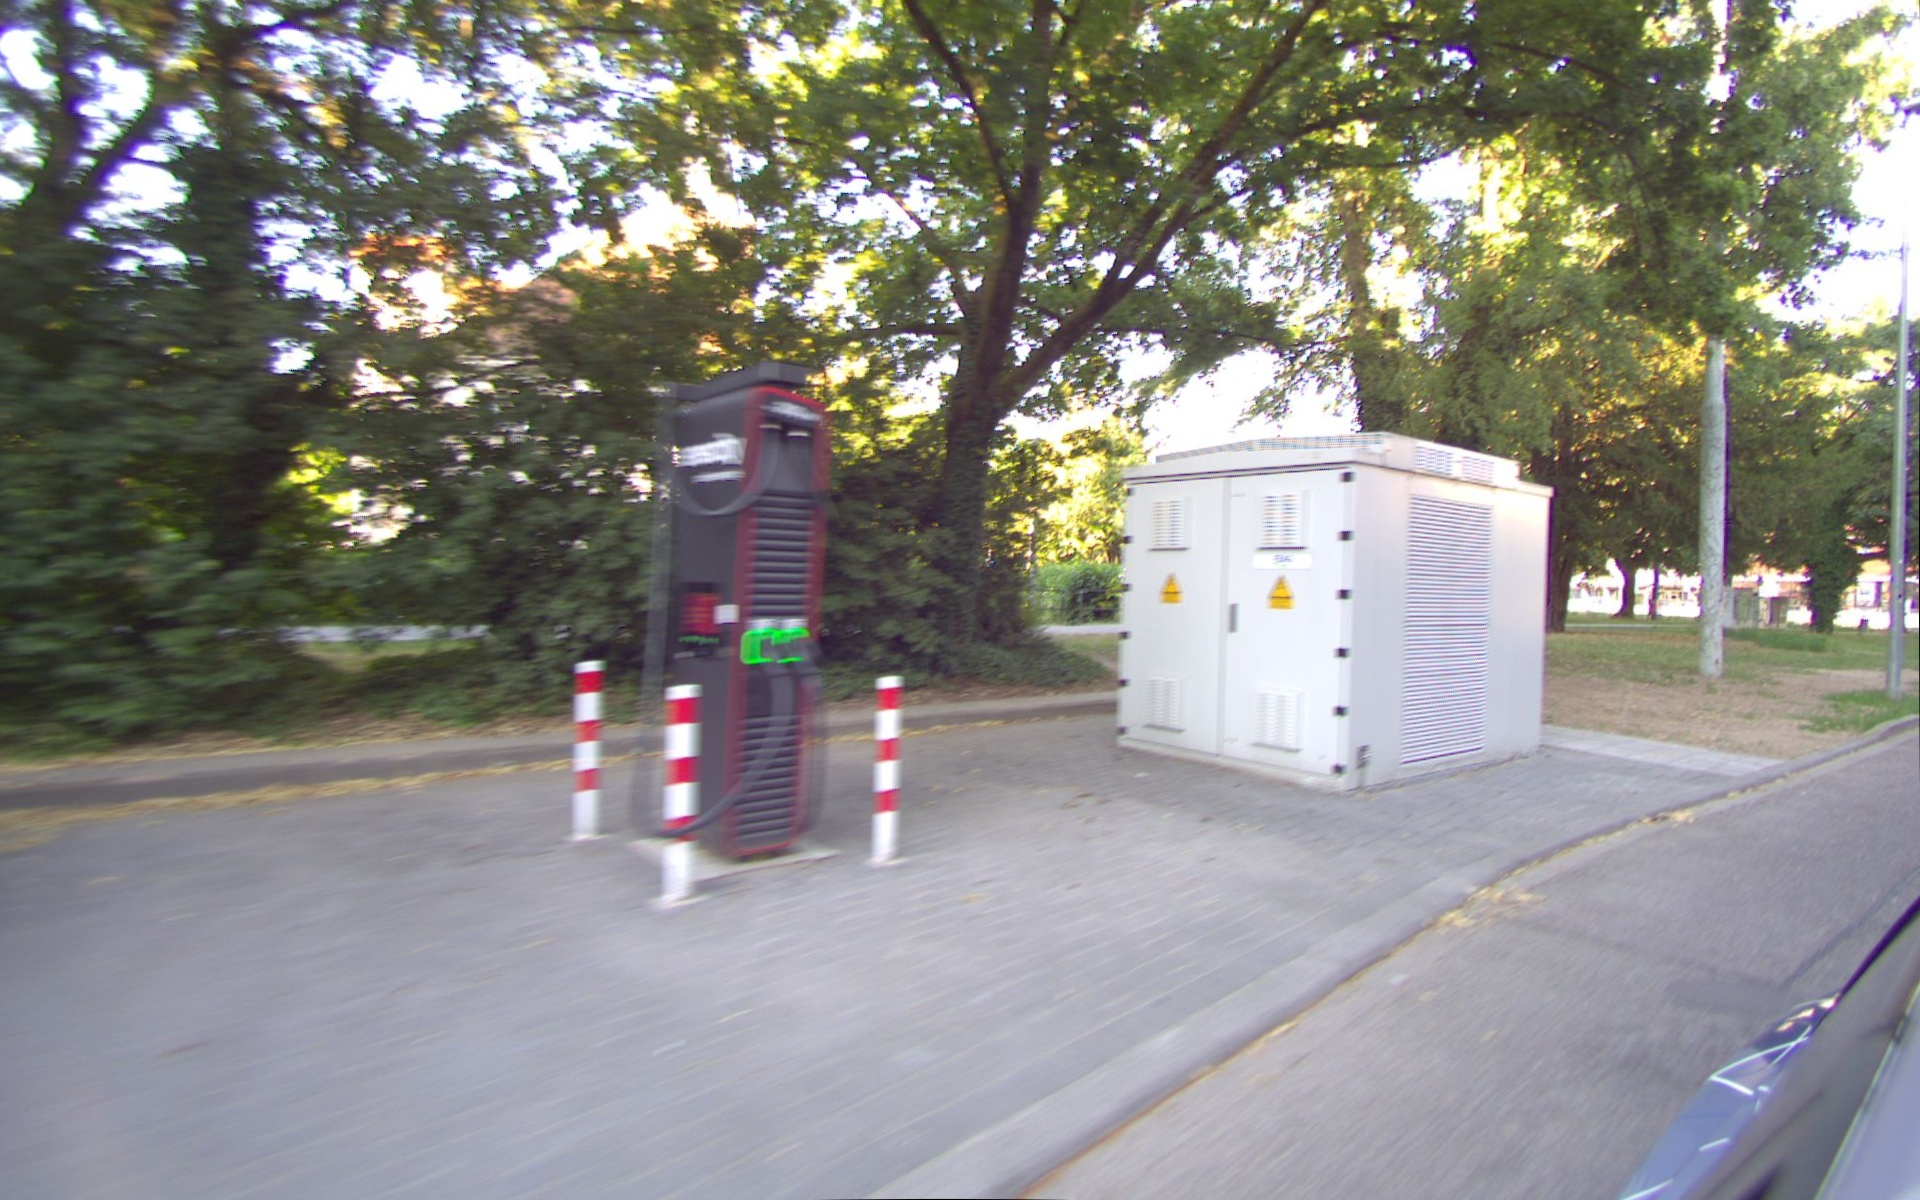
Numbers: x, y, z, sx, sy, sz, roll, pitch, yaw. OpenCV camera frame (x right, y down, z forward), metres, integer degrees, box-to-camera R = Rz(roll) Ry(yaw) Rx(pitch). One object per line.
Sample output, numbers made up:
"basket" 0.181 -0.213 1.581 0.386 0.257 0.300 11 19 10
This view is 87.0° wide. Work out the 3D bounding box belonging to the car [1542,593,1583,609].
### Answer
"car" 73.381 0.090 123.264 1.962 1.819 4.896 1 1 -1
